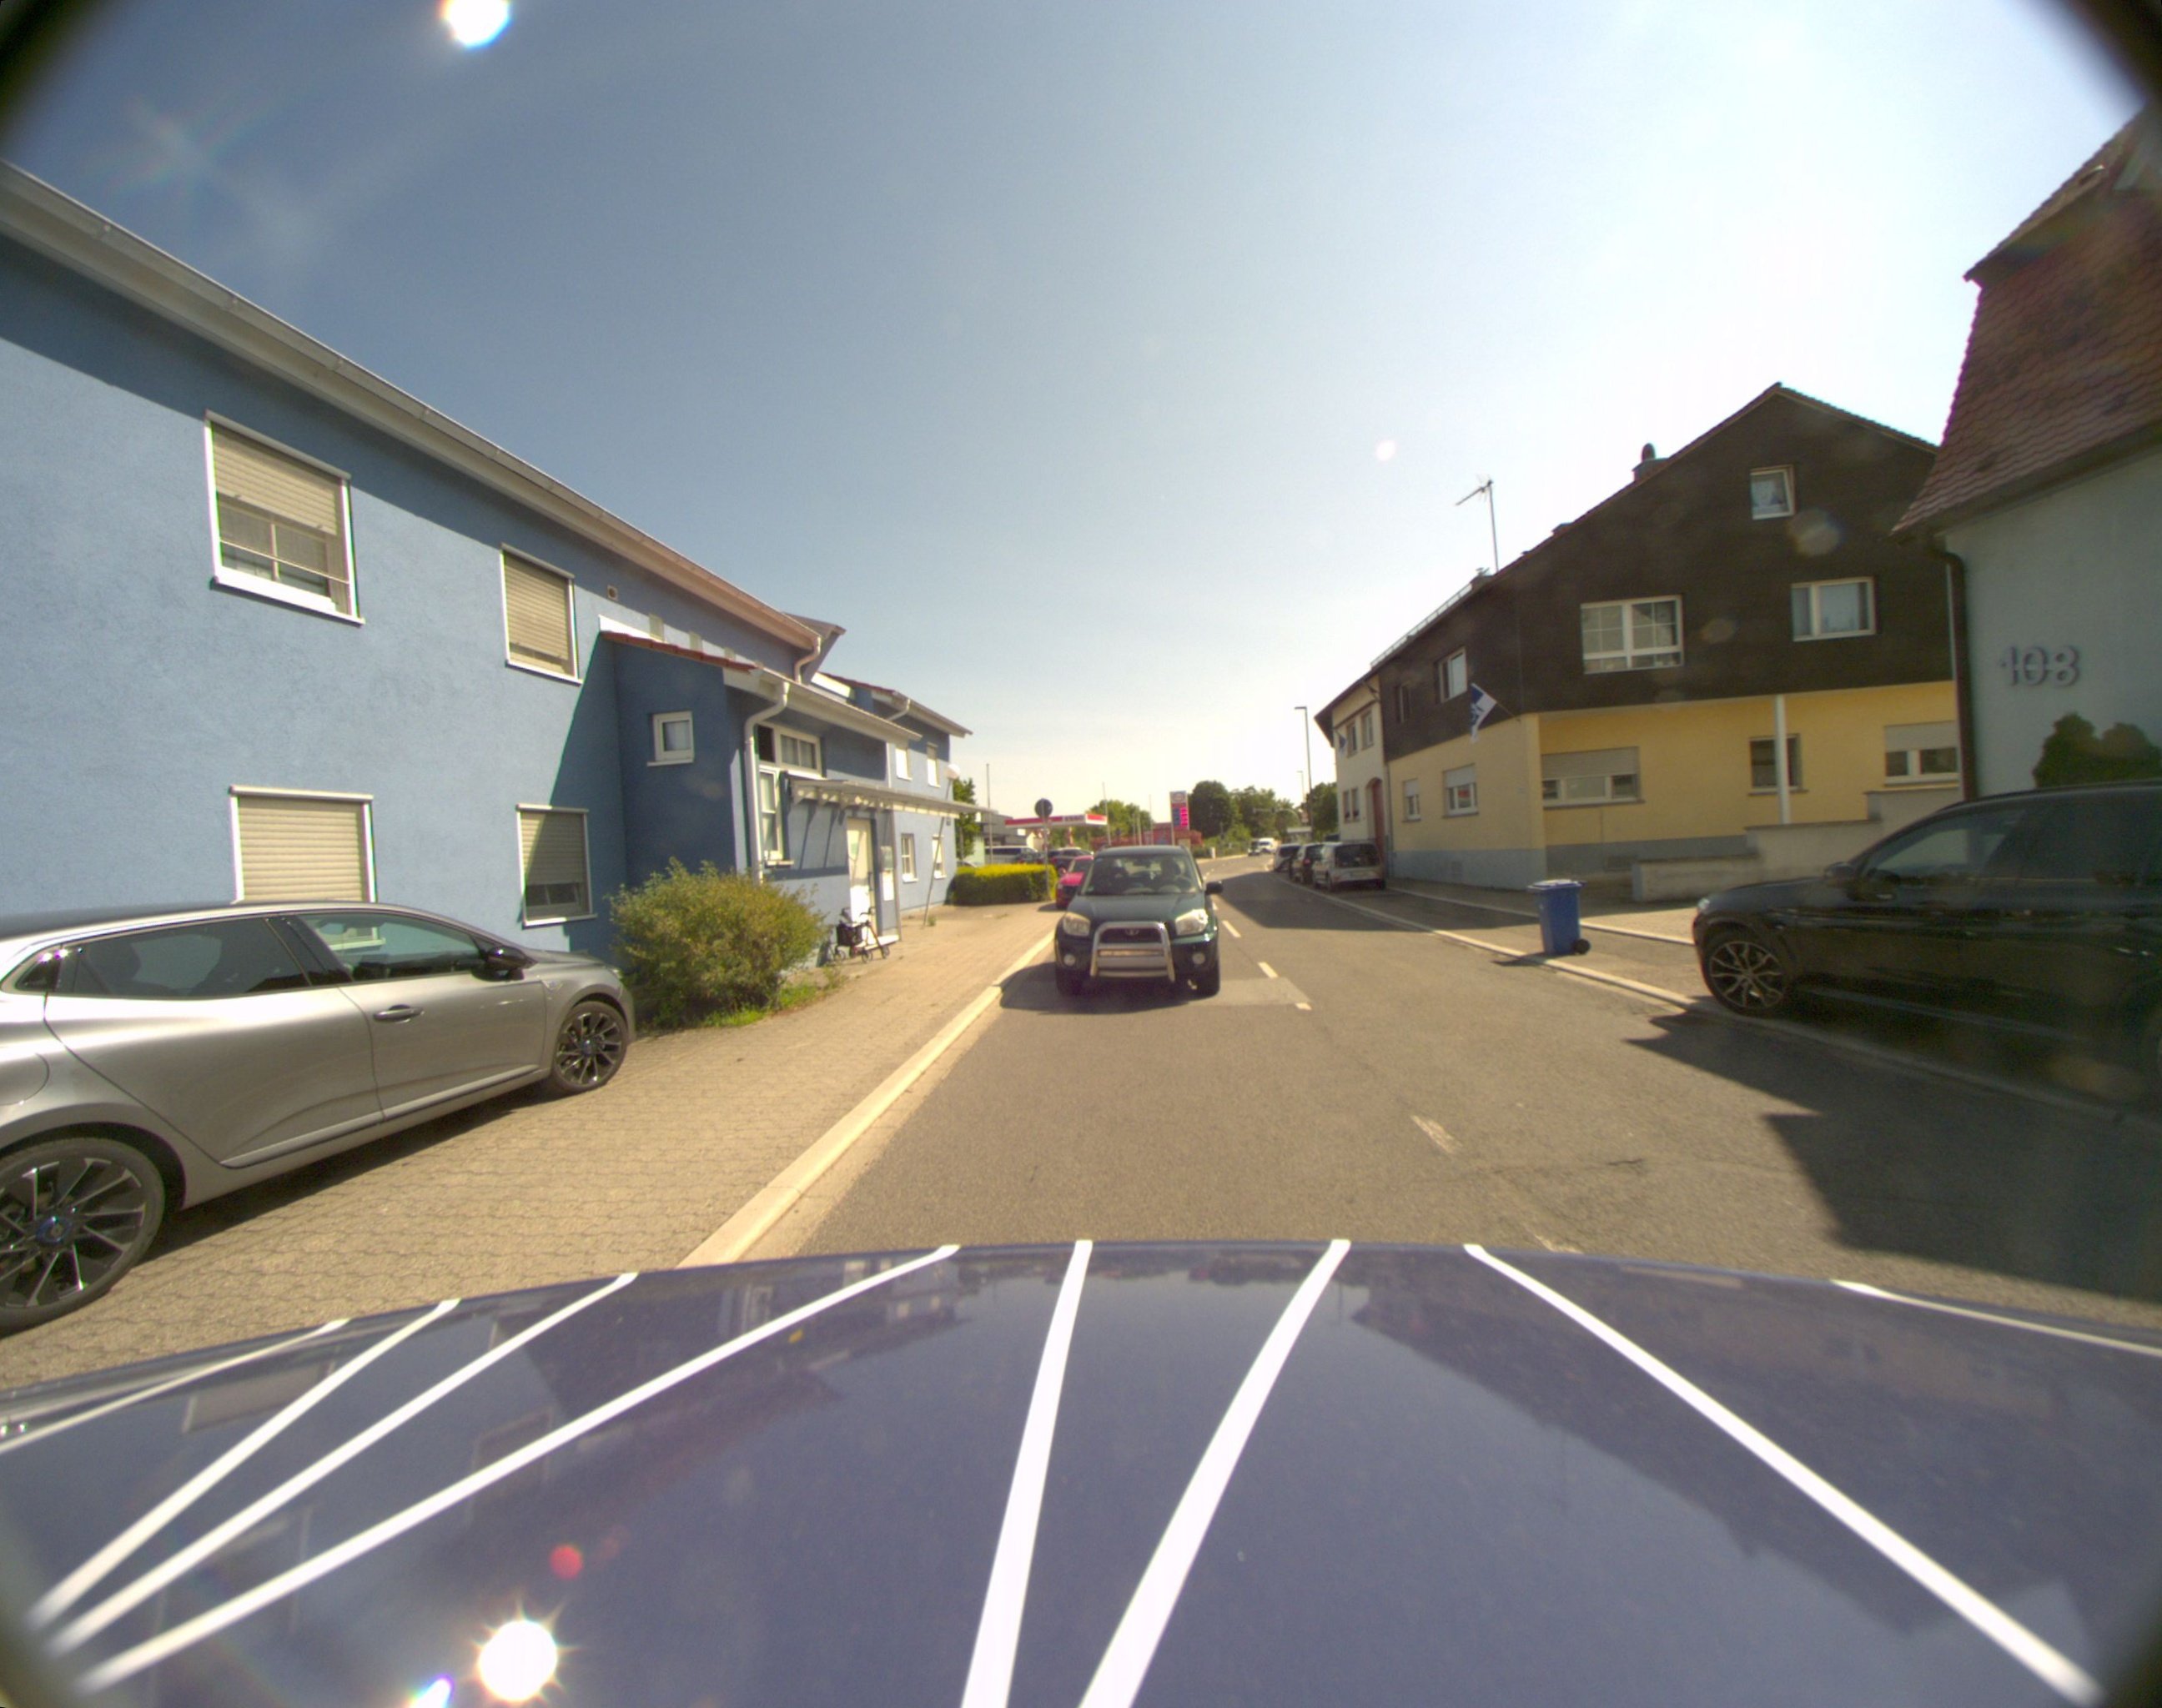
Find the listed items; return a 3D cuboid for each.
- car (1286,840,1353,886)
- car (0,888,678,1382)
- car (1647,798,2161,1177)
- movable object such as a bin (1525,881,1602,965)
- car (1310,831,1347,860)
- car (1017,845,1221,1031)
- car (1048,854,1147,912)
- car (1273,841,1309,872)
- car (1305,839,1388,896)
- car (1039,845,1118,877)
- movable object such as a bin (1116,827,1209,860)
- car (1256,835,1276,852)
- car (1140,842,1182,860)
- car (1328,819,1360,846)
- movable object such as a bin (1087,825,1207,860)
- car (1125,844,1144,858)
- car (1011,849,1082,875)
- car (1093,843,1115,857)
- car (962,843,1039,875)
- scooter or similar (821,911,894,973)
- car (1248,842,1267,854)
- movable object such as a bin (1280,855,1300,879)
[{"bbox_3d":[8.939,0.275,28.723,1.682,1.429,3.997,-6,0,8],"label":"car"},{"bbox_3d":[-4.274,1.058,3.961,1.693,1.412,4.147,-4,1,6],"label":"car"},{"bbox_3d":[5.954,0.564,4.452,1.924,1.658,4.666,-5,1,4],"label":"car"},{"bbox_3d":[6.119,0.868,9.665,0.598,0.976,0.531,-4,1,5],"label":"movable object such as a bin"},{"bbox_3d":[17.735,-0.616,54.422,1.839,1.782,4.349,-6,-1,25],"label":"car"},{"bbox_3d":[0.651,0.806,9.251,1.847,1.686,4.401,-2,0,8],"label":"car"},{"bbox_3d":[0.594,0.844,21.726,1.735,1.485,4.362,-1,-3,16],"label":"car"},{"bbox_3d":[11.345,0.090,41.270,1.686,1.453,3.652,-4,1,14],"label":"car"},{"bbox_3d":[8.237,0.361,23.873,1.644,1.492,3.783,-5,0,8],"label":"car"},{"bbox_3d":[-0.162,0.407,44.183,4.117,1.644,1.828,-3,1,-20],"label":"car"},{"bbox_3d":[12.076,-1.506,112.528,13.272,4.141,2.866,-3,1,16],"label":"movable object such as a bin"},{"bbox_3d":[28.929,-1.649,118.838,1.935,2.488,5.846,-2,1,23],"label":"car"},{"bbox_3d":[7.755,-0.257,74.220,1.777,1.546,4.172,-4,1,-34],"label":"car"},{"bbox_3d":[23.015,-1.862,66.565,2.129,1.974,5.270,-8,0,16],"label":"car"},{"bbox_3d":[9.084,-1.478,105.193,16.074,3.995,2.776,-3,1,16],"label":"movable object such as a bin"},{"bbox_3d":[6.722,-0.343,95.339,1.844,1.583,4.108,-3,1,11],"label":"car"},{"bbox_3d":[-2.356,0.530,51.621,4.321,1.541,1.981,-3,1,-20],"label":"car"},{"bbox_3d":[2.915,-0.552,96.133,2.002,1.583,4.341,-3,1,11],"label":"car"},{"bbox_3d":[-5.791,0.320,54.483,5.286,2.002,2.230,-3,1,-9],"label":"car"},{"bbox_3d":[-3.387,1.333,11.595,0.729,0.810,0.828,-3,1,11],"label":"scooter or similar"},{"bbox_3d":[24.795,-0.825,106.639,1.843,1.583,4.111,-2,1,23],"label":"car"},{"bbox_3d":[8.987,0.548,32.622,0.552,0.923,0.825,-7,0,3],"label":"movable object such as a bin"}]
